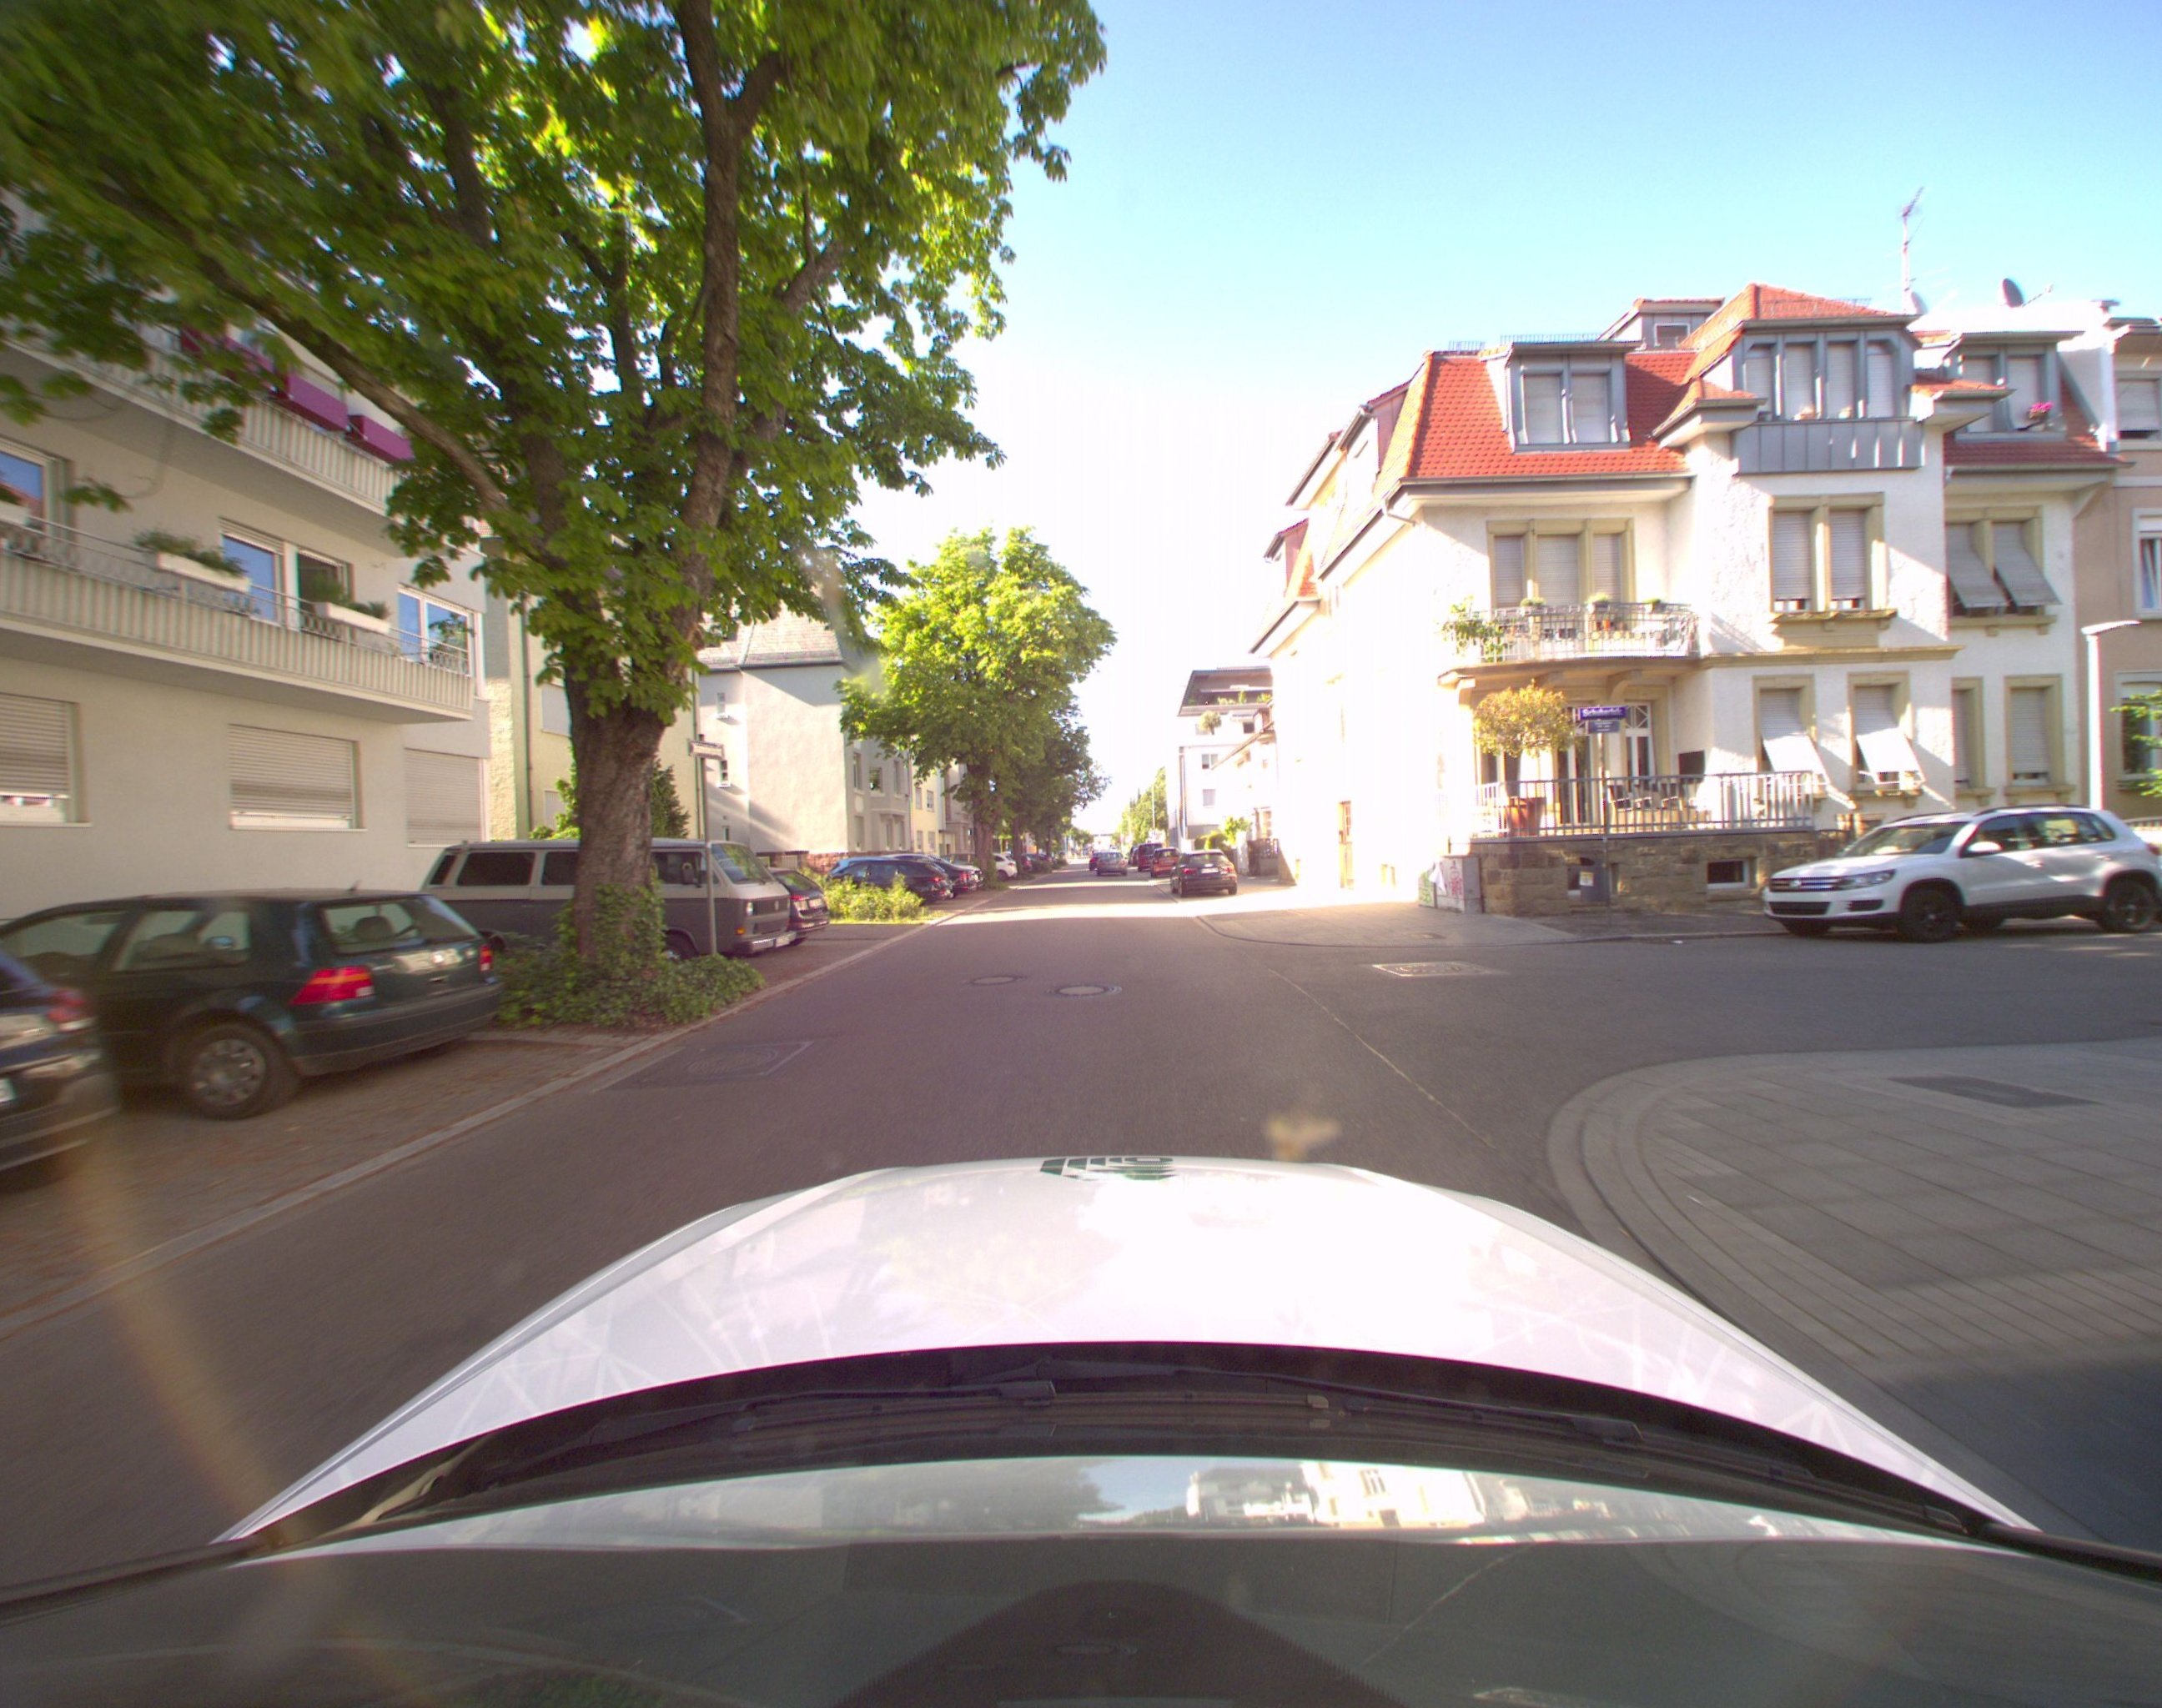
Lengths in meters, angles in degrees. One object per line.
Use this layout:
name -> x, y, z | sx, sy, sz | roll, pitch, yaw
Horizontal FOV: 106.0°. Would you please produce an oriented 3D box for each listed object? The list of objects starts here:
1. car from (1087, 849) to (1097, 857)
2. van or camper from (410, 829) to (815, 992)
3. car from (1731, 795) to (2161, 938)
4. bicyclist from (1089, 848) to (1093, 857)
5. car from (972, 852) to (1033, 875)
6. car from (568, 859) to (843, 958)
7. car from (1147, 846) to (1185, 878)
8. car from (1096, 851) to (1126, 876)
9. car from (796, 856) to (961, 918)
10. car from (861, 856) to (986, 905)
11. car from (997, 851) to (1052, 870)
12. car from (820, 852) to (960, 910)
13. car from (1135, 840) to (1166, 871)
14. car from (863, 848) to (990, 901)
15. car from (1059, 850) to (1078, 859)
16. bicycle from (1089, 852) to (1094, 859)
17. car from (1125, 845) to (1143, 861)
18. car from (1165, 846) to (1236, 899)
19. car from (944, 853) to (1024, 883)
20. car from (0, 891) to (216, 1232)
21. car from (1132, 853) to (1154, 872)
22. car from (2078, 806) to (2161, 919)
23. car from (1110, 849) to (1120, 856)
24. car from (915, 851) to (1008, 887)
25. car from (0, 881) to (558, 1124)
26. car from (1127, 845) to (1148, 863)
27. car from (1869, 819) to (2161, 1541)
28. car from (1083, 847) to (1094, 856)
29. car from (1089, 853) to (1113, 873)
car -> 2.509, -0.241, 187.722 | 1.783, 1.532, 3.997 | -6, -1, -2
van or camper -> -6.367, 0.725, 11.472 | 4.481, 1.914, 1.965 | -2, 0, 1
car -> 11.416, 0.173, 10.899 | 3.976, 1.591, 1.790 | -2, -2, -2
bicyclist -> 1.695, -0.273, 136.993 | 0.718, 1.537, 1.137 | -2, 0, 2
car -> -5.378, 0.662, 56.104 | 3.973, 1.421, 1.771 | -1, 2, 0
car -> -6.351, 0.896, 14.040 | 3.928, 1.498, 1.664 | -1, 1, 3
car -> 4.427, 0.401, 42.752 | 1.586, 1.480, 3.248 | -4, 0, 1
car -> 1.800, 0.533, 48.712 | 1.719, 1.420, 3.963 | -1, -1, 3
car -> -5.739, 0.920, 23.441 | 4.173, 1.498, 1.861 | -3, 0, 0
car -> -5.483, 0.898, 28.663 | 3.973, 1.468, 1.697 | -3, 0, 1
car -> -4.777, 0.571, 68.835 | 4.460, 1.479, 1.868 | -1, -1, -1
car -> -6.041, 0.840, 26.116 | 3.974, 1.592, 1.878 | -3, 0, -1
car -> 4.679, 0.095, 55.482 | 1.864, 1.905, 5.201 | -4, 0, 3
car -> -5.885, 0.756, 31.350 | 4.369, 1.652, 1.824 | -4, 2, 2
car -> -2.484, 0.054, 159.437 | 3.488, 1.533, 1.642 | -2, 0, -5
bicycle -> 1.740, 0.274, 136.933 | 0.716, 1.079, 1.892 | -2, 0, 2
car -> 5.343, -0.100, 82.360 | 1.558, 1.410, 3.732 | -6, -1, 3
car -> 3.785, 0.524, 26.320 | 1.614, 1.439, 3.934 | -5, 1, 0
car -> -5.143, 0.727, 43.584 | 4.008, 1.484, 1.807 | -1, 1, 1
car -> -6.494, 0.961, 3.595 | 3.464, 1.458, 1.799 | -1, 0, 2
car -> 5.430, 0.699, 72.109 | 1.730, 1.531, 4.180 | -2, 0, 2
car -> 16.799, 0.037, 11.147 | 3.978, 1.550, 1.997 | -2, -2, -4
car -> 7.020, -0.262, 167.025 | 1.718, 1.330, 3.996 | -2, 0, -3
car -> -5.595, 0.699, 38.533 | 3.969, 1.575, 1.983 | -1, 0, 4
car -> -6.412, 0.980, 6.024 | 3.910, 1.414, 1.715 | -1, 1, -1
car -> 5.352, 0.018, 77.740 | 1.676, 1.435, 4.267 | -6, -1, 2
car -> 3.119, 0.639, 0.299 | 1.658, 1.520, 3.999 | -4, -1, -1
car -> 1.473, -0.449, 164.818 | 1.868, 1.727, 3.996 | -3, 1, -3
car -> 1.572, 0.680, 62.409 | 1.700, 1.448, 4.205 | -1, -1, 2
